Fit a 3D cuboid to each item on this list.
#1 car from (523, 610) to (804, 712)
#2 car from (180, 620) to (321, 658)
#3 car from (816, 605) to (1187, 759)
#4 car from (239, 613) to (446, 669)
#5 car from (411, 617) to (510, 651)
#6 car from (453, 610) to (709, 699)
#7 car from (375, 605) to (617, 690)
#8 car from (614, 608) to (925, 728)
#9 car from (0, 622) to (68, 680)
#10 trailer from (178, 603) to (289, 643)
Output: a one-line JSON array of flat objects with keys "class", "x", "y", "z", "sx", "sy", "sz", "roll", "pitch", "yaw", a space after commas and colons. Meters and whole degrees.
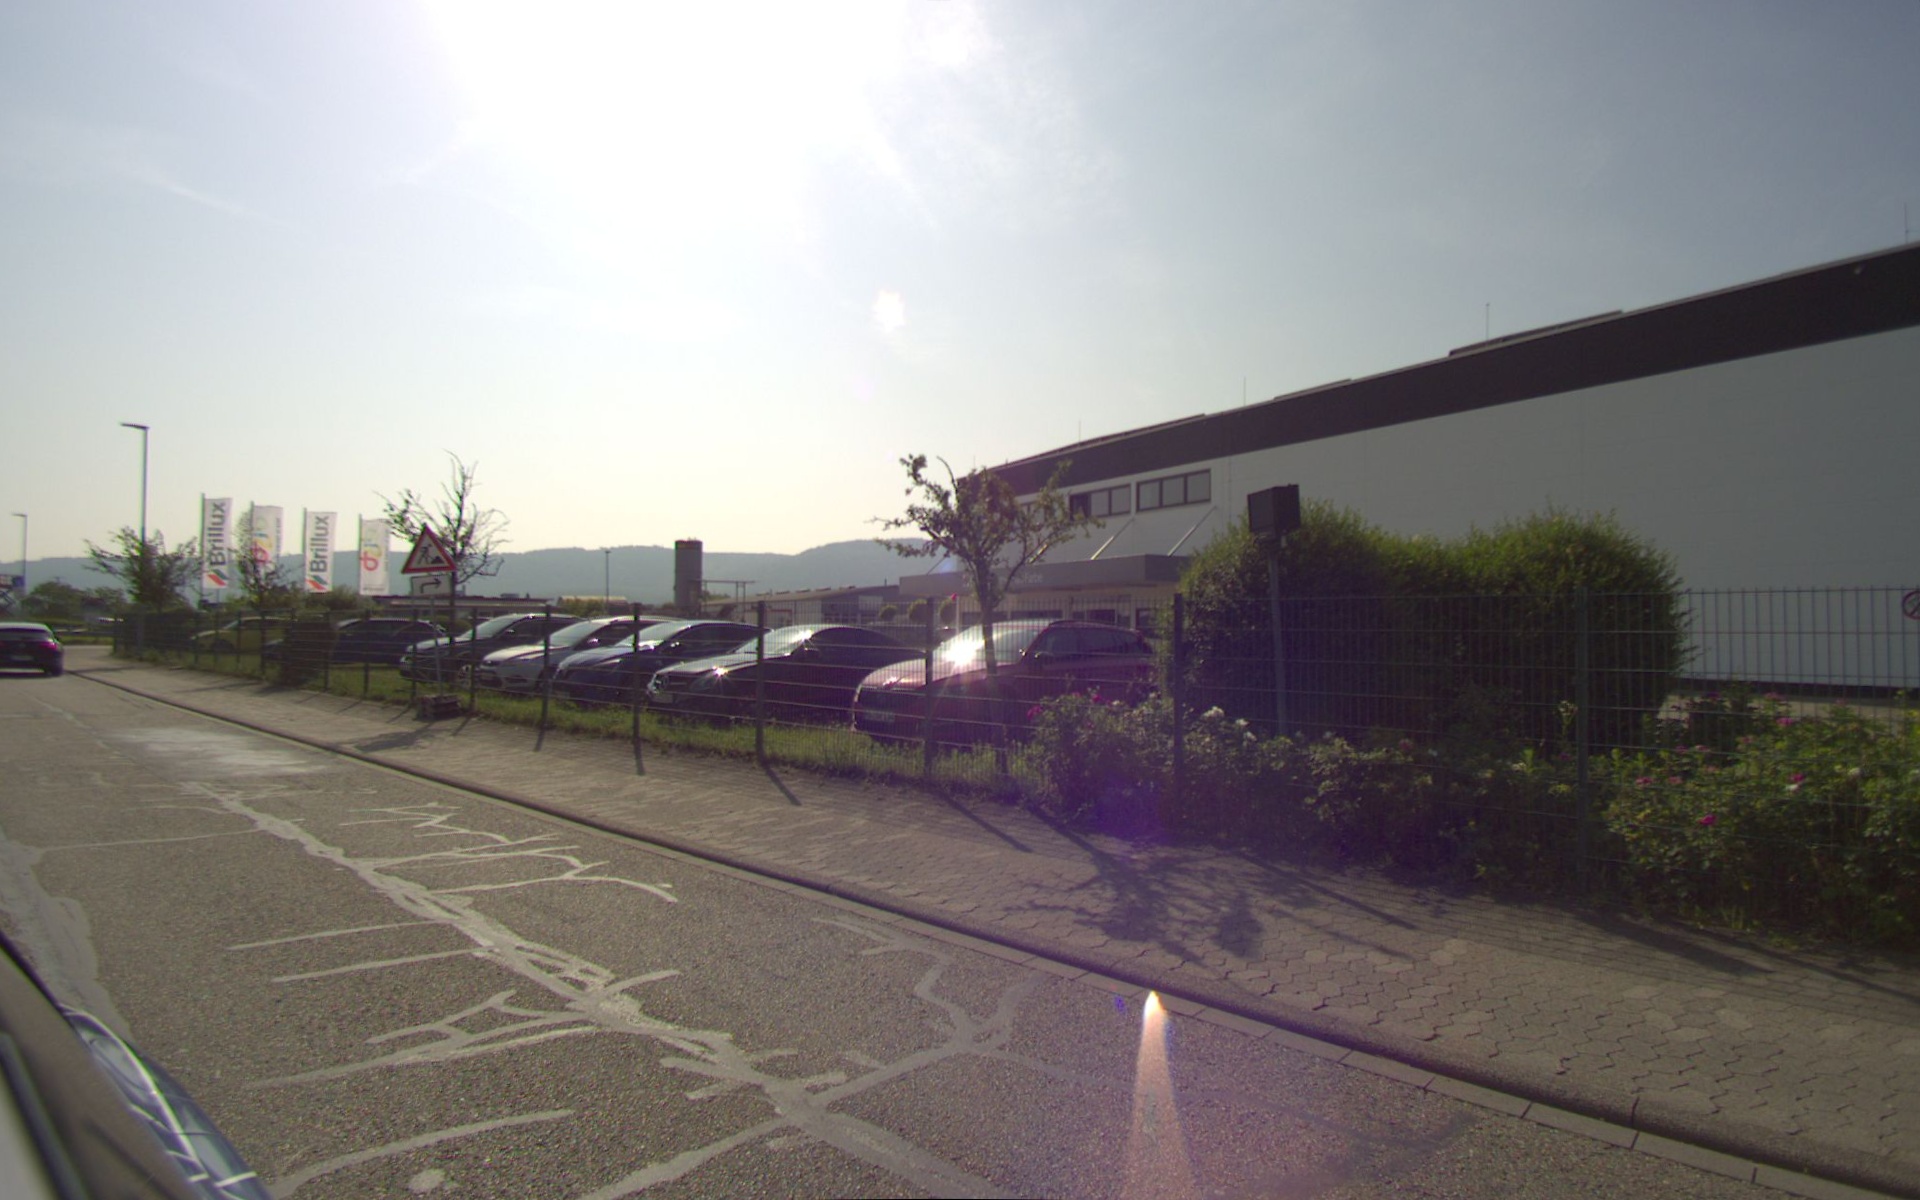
[{"class": "car", "x": -4.727, "y": 1.002, "z": 16.566, "sx": 1.874, "sy": 1.455, "sz": 3.997, "roll": -1, "pitch": -4, "yaw": 42}, {"class": "car", "x": -27.098, "y": 1.499, "z": 38.747, "sx": 1.869, "sy": 1.378, "sz": 4.118, "roll": -1, "pitch": -3, "yaw": 43}, {"class": "car", "x": 0.681, "y": 0.912, "z": 11.915, "sx": 1.952, "sy": 1.455, "sz": 4.487, "roll": -1, "pitch": -4, "yaw": 42}, {"class": "car", "x": -17.634, "y": 1.215, "z": 29.092, "sx": 2.078, "sy": 1.455, "sz": 4.635, "roll": -1, "pitch": -4, "yaw": 42}, {"class": "car", "x": -26.478, "y": 1.820, "z": 53.762, "sx": 4.584, "sy": 1.765, "sz": 2.159, "roll": 2, "pitch": -2, "yaw": -26}, {"class": "car", "x": -6.897, "y": 1.014, "z": 18.718, "sx": 1.874, "sy": 1.455, "sz": 3.997, "roll": -1, "pitch": -4, "yaw": 42}, {"class": "car", "x": -9.457, "y": 1.004, "z": 20.860, "sx": 1.865, "sy": 1.579, "sz": 4.083, "roll": -1, "pitch": -4, "yaw": 42}, {"class": "car", "x": -2.568, "y": 0.950, "z": 14.361, "sx": 1.874, "sy": 1.455, "sz": 3.997, "roll": -1, "pitch": -4, "yaw": 42}, {"class": "car", "x": -25.959, "y": 1.345, "z": 27.488, "sx": 4.418, "sy": 1.460, "sz": 1.972, "roll": -1, "pitch": -5, "yaw": 41}, {"class": "trailer", "x": -52.257, "y": 1.727, "z": 73.032, "sx": 6.221, "sy": 2.625, "sz": 2.862, "roll": 3, "pitch": -3, "yaw": -33}]
